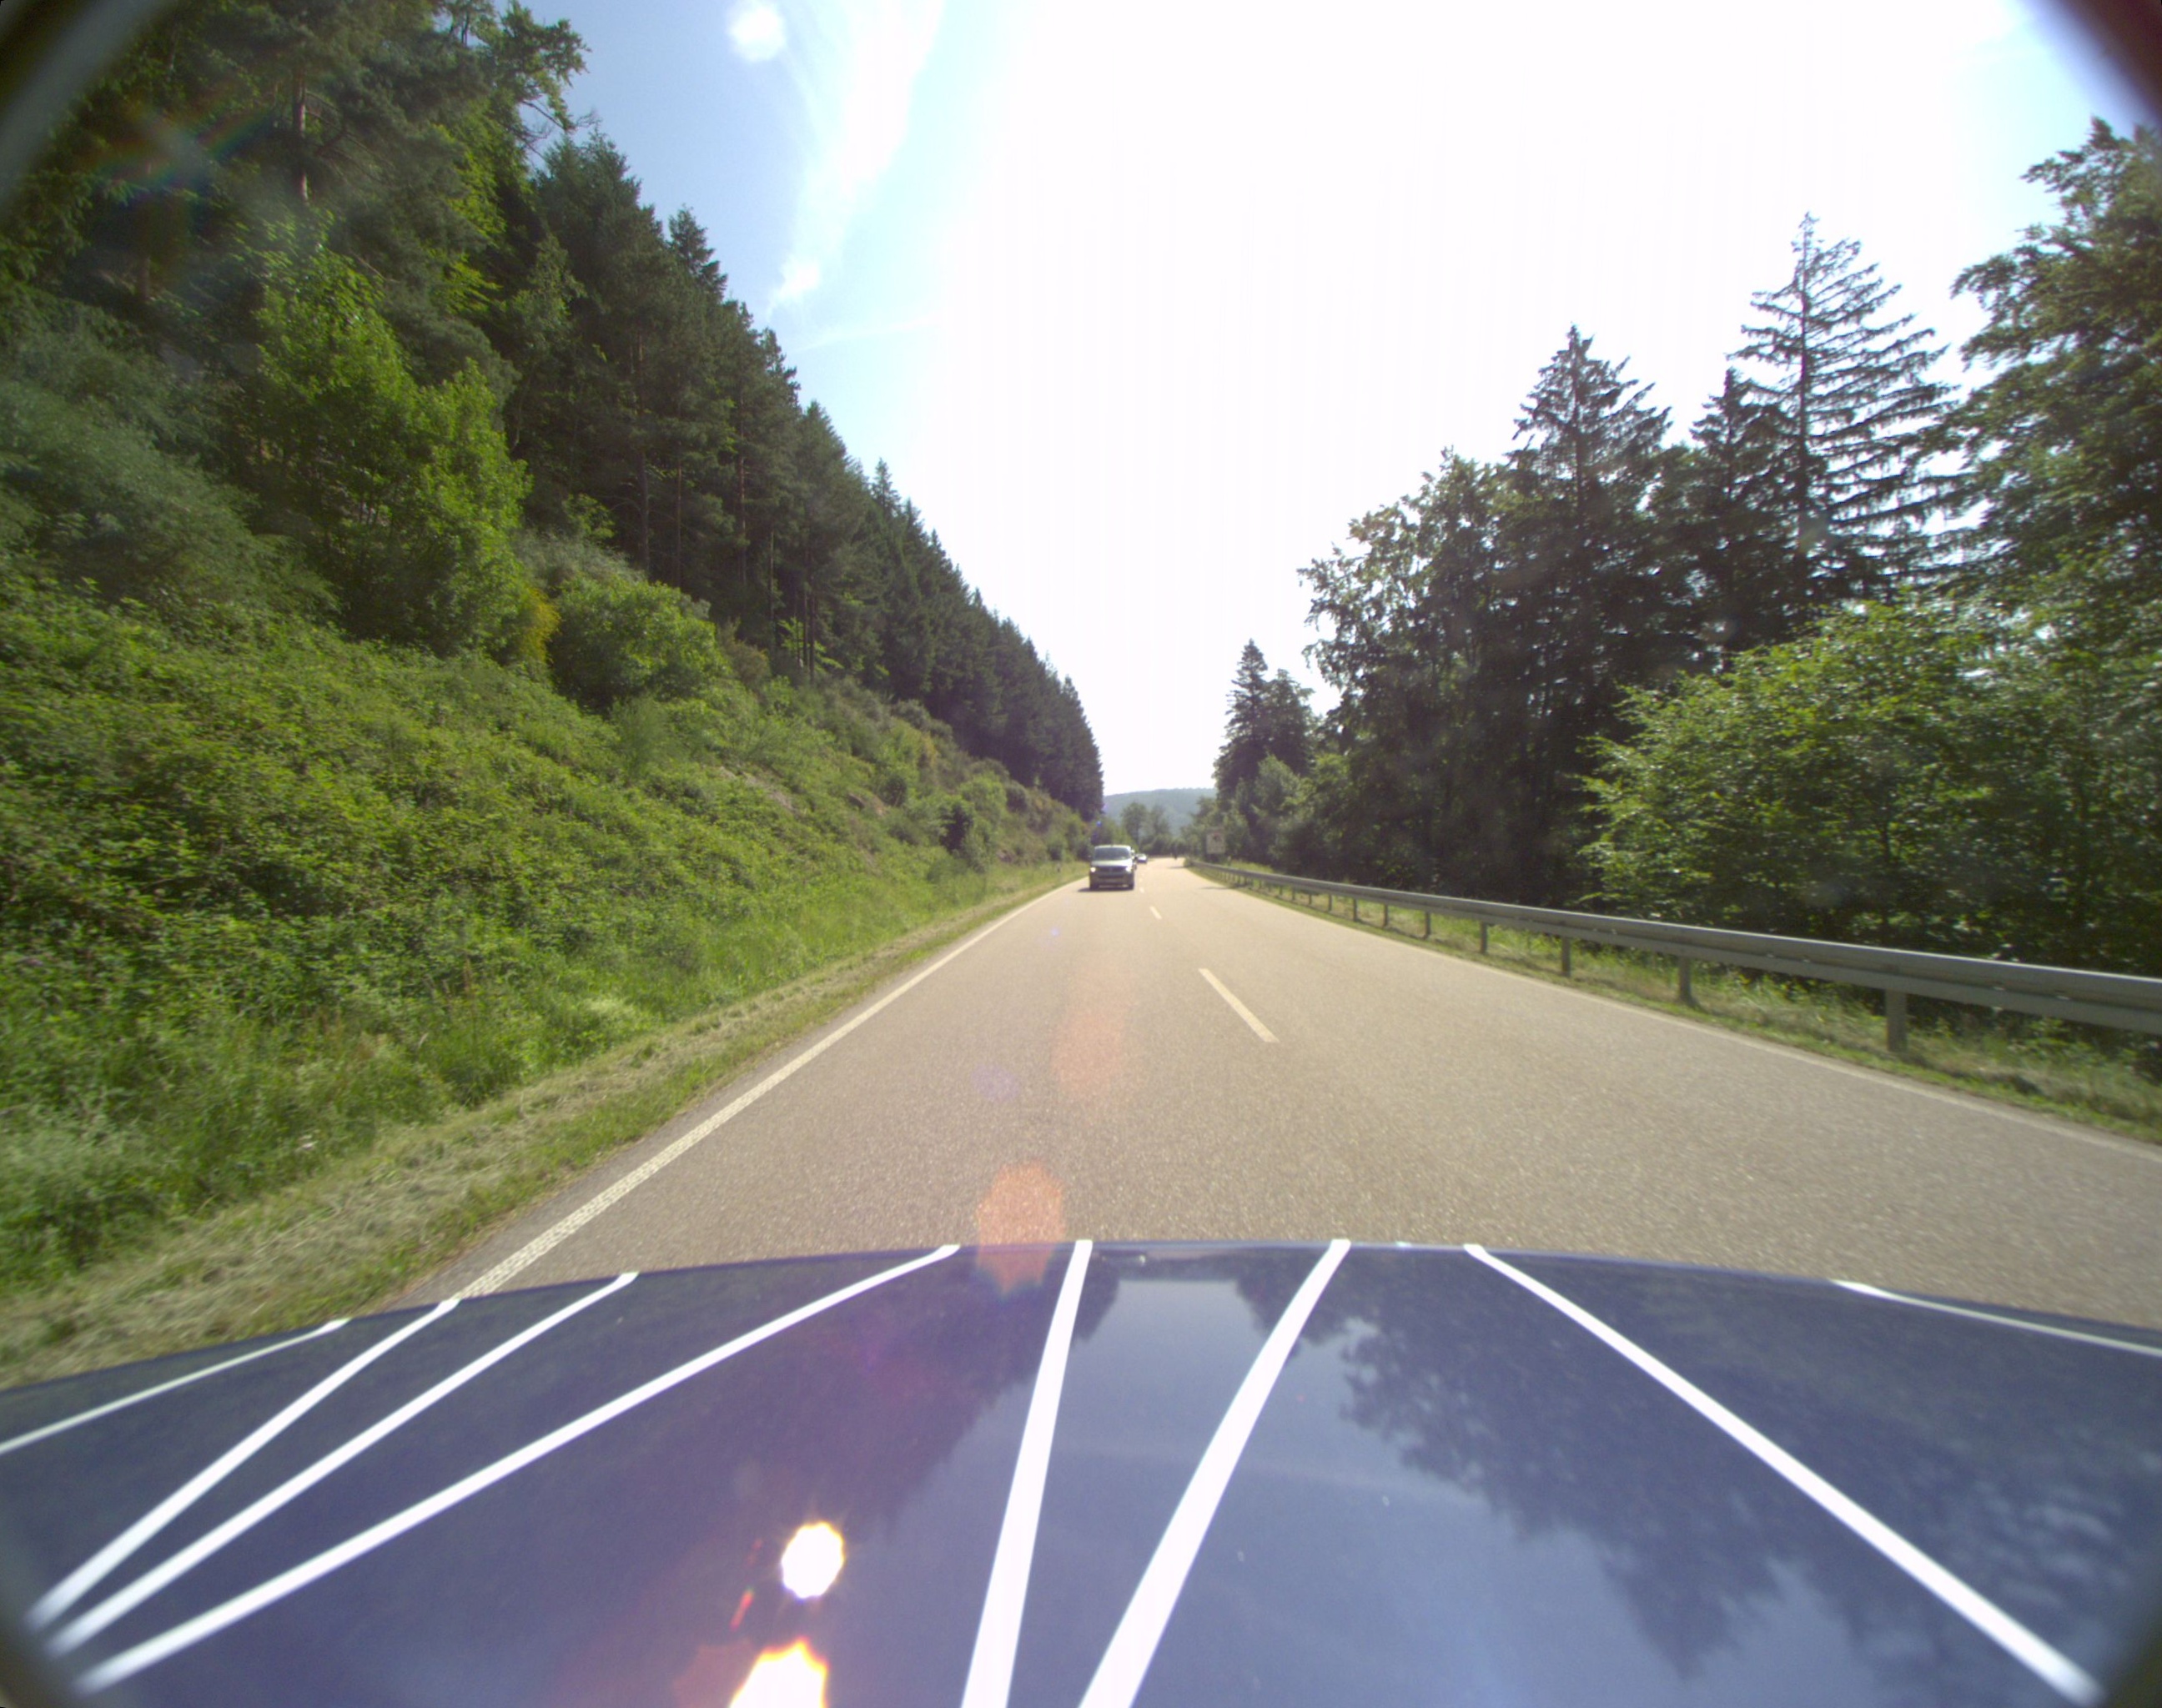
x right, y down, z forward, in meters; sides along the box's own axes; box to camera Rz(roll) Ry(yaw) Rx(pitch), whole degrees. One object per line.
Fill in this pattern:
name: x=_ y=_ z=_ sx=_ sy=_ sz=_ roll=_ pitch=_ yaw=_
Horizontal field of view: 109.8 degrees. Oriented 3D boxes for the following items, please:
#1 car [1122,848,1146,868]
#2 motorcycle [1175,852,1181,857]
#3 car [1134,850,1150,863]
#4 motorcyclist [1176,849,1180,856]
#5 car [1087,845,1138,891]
car: x=5.103 y=0.343 z=73.214 sx=2.136 sy=1.825 sz=4.723 roll=-1 pitch=0 yaw=4
motorcycle: x=20.046 y=0.114 z=157.198 sx=0.986 sy=1.065 sz=1.964 roll=-1 pitch=0 yaw=13
car: x=8.612 y=0.290 z=107.684 sx=1.997 sy=1.718 sz=4.002 roll=-2 pitch=0 yaw=7
motorcyclist: x=19.991 y=-0.274 z=157.184 sx=0.659 sy=1.504 sz=0.935 roll=-1 pitch=1 yaw=13
car: x=1.465 y=0.576 z=33.711 sx=1.989 sy=1.899 sz=4.762 roll=-1 pitch=0 yaw=5
